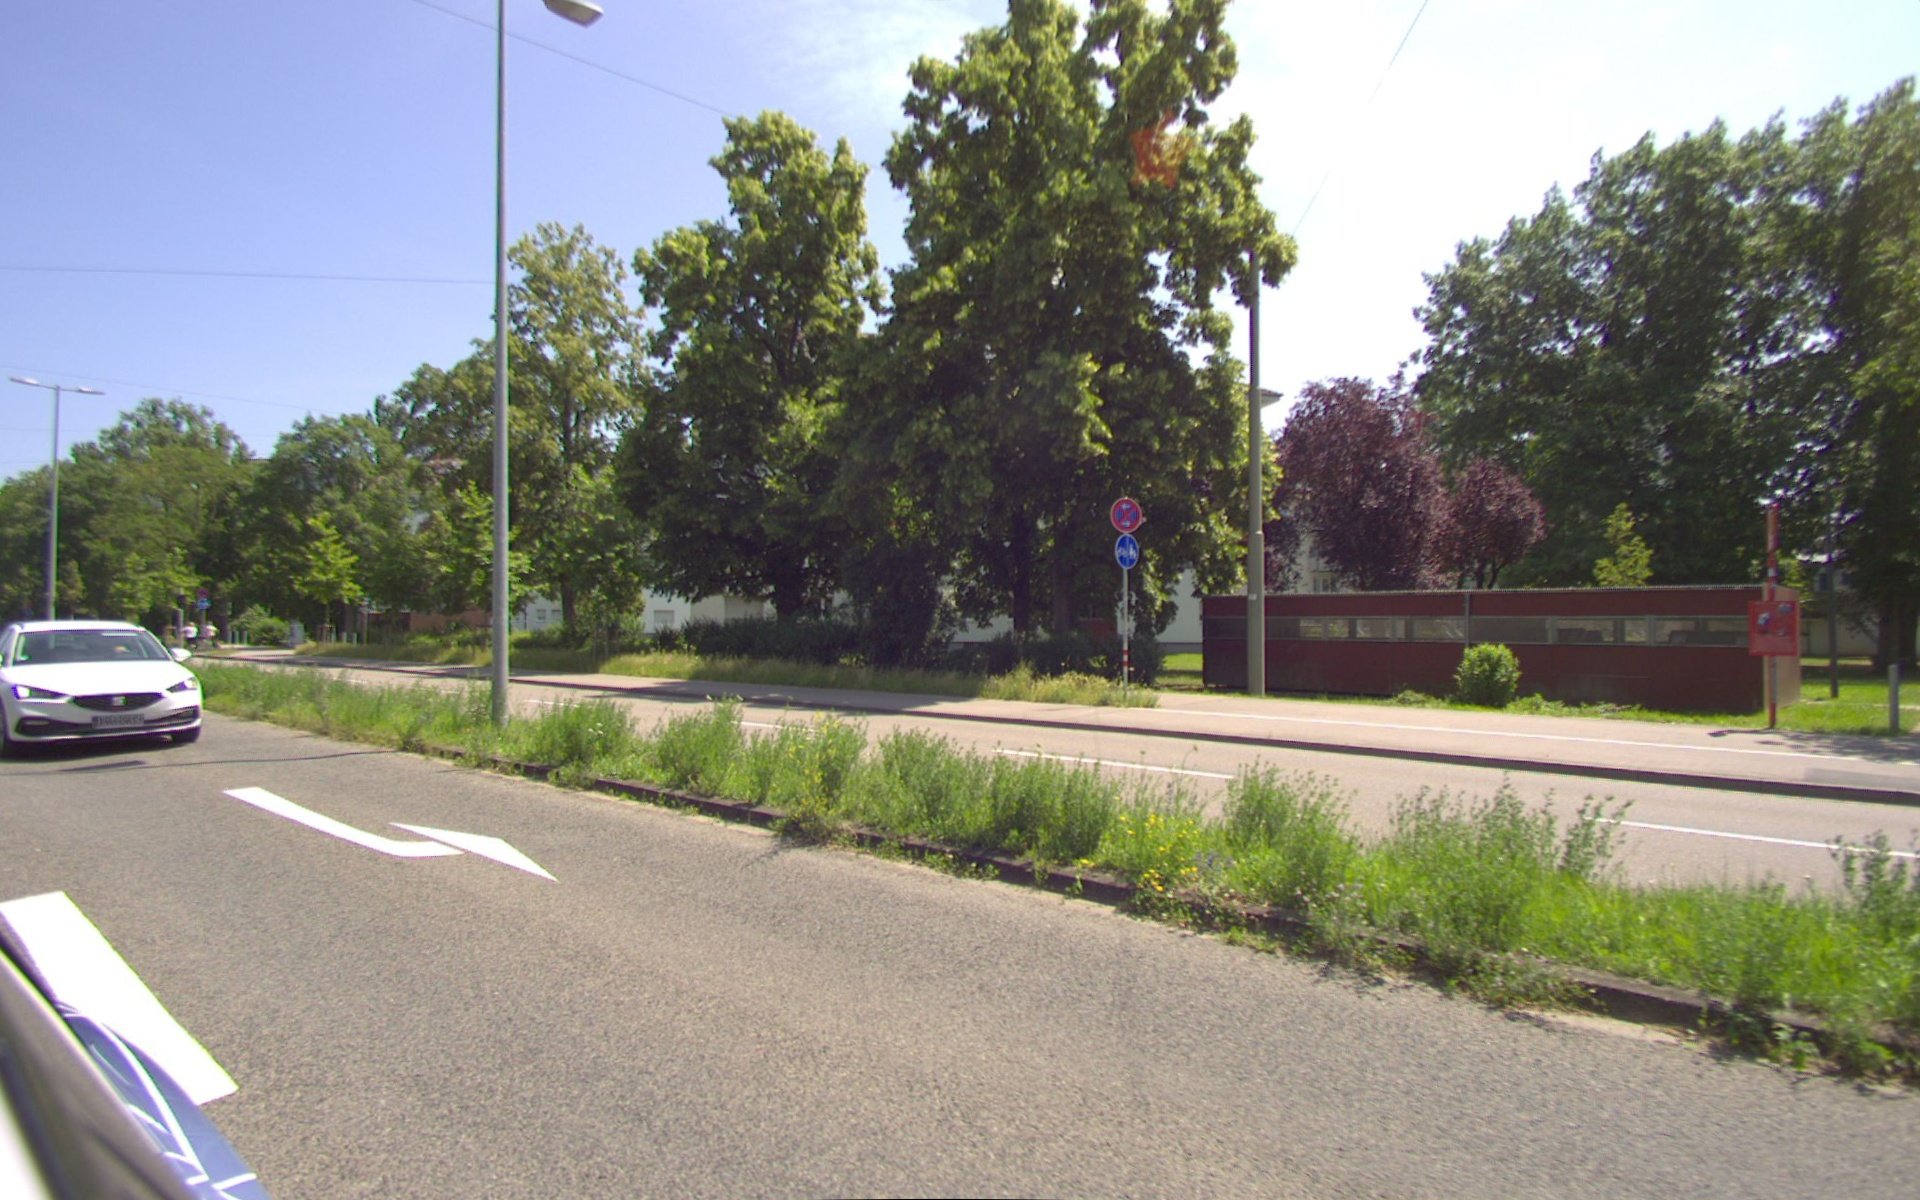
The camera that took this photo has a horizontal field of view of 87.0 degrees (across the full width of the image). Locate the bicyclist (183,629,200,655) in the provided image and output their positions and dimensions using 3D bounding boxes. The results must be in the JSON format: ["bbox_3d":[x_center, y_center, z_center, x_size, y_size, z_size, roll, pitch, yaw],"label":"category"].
[{"bbox_3d":[-39.844,2.186,52.472,0.754,1.356,0.539,-2,-3,39],"label":"bicyclist"}]

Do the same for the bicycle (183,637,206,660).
[{"bbox_3d":[-39.409,2.496,52.086,1.614,1.142,0.582,-2,-3,40],"label":"bicycle"}]

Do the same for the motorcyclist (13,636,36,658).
[{"bbox_3d":[-61.545,3.085,66.563,1.509,1.414,0.730,-1,-3,34],"label":"motorcyclist"}]

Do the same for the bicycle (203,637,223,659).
[{"bbox_3d":[-39.059,2.523,52.915,1.379,1.103,0.548,-1,-1,41],"label":"bicycle"}]

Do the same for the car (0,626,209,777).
[{"bbox_3d":[-10.600,1.080,12.131,4.109,1.479,1.749,-2,-1,41],"label":"car"}]

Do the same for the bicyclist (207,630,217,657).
[{"bbox_3d":[-39.173,2.285,53.001,0.440,1.402,0.353,-2,-1,42],"label":"bicyclist"}]

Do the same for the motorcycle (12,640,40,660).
[{"bbox_3d":[-61.311,3.262,66.424,2.389,1.309,0.798,-2,-3,35],"label":"motorcycle"}]
